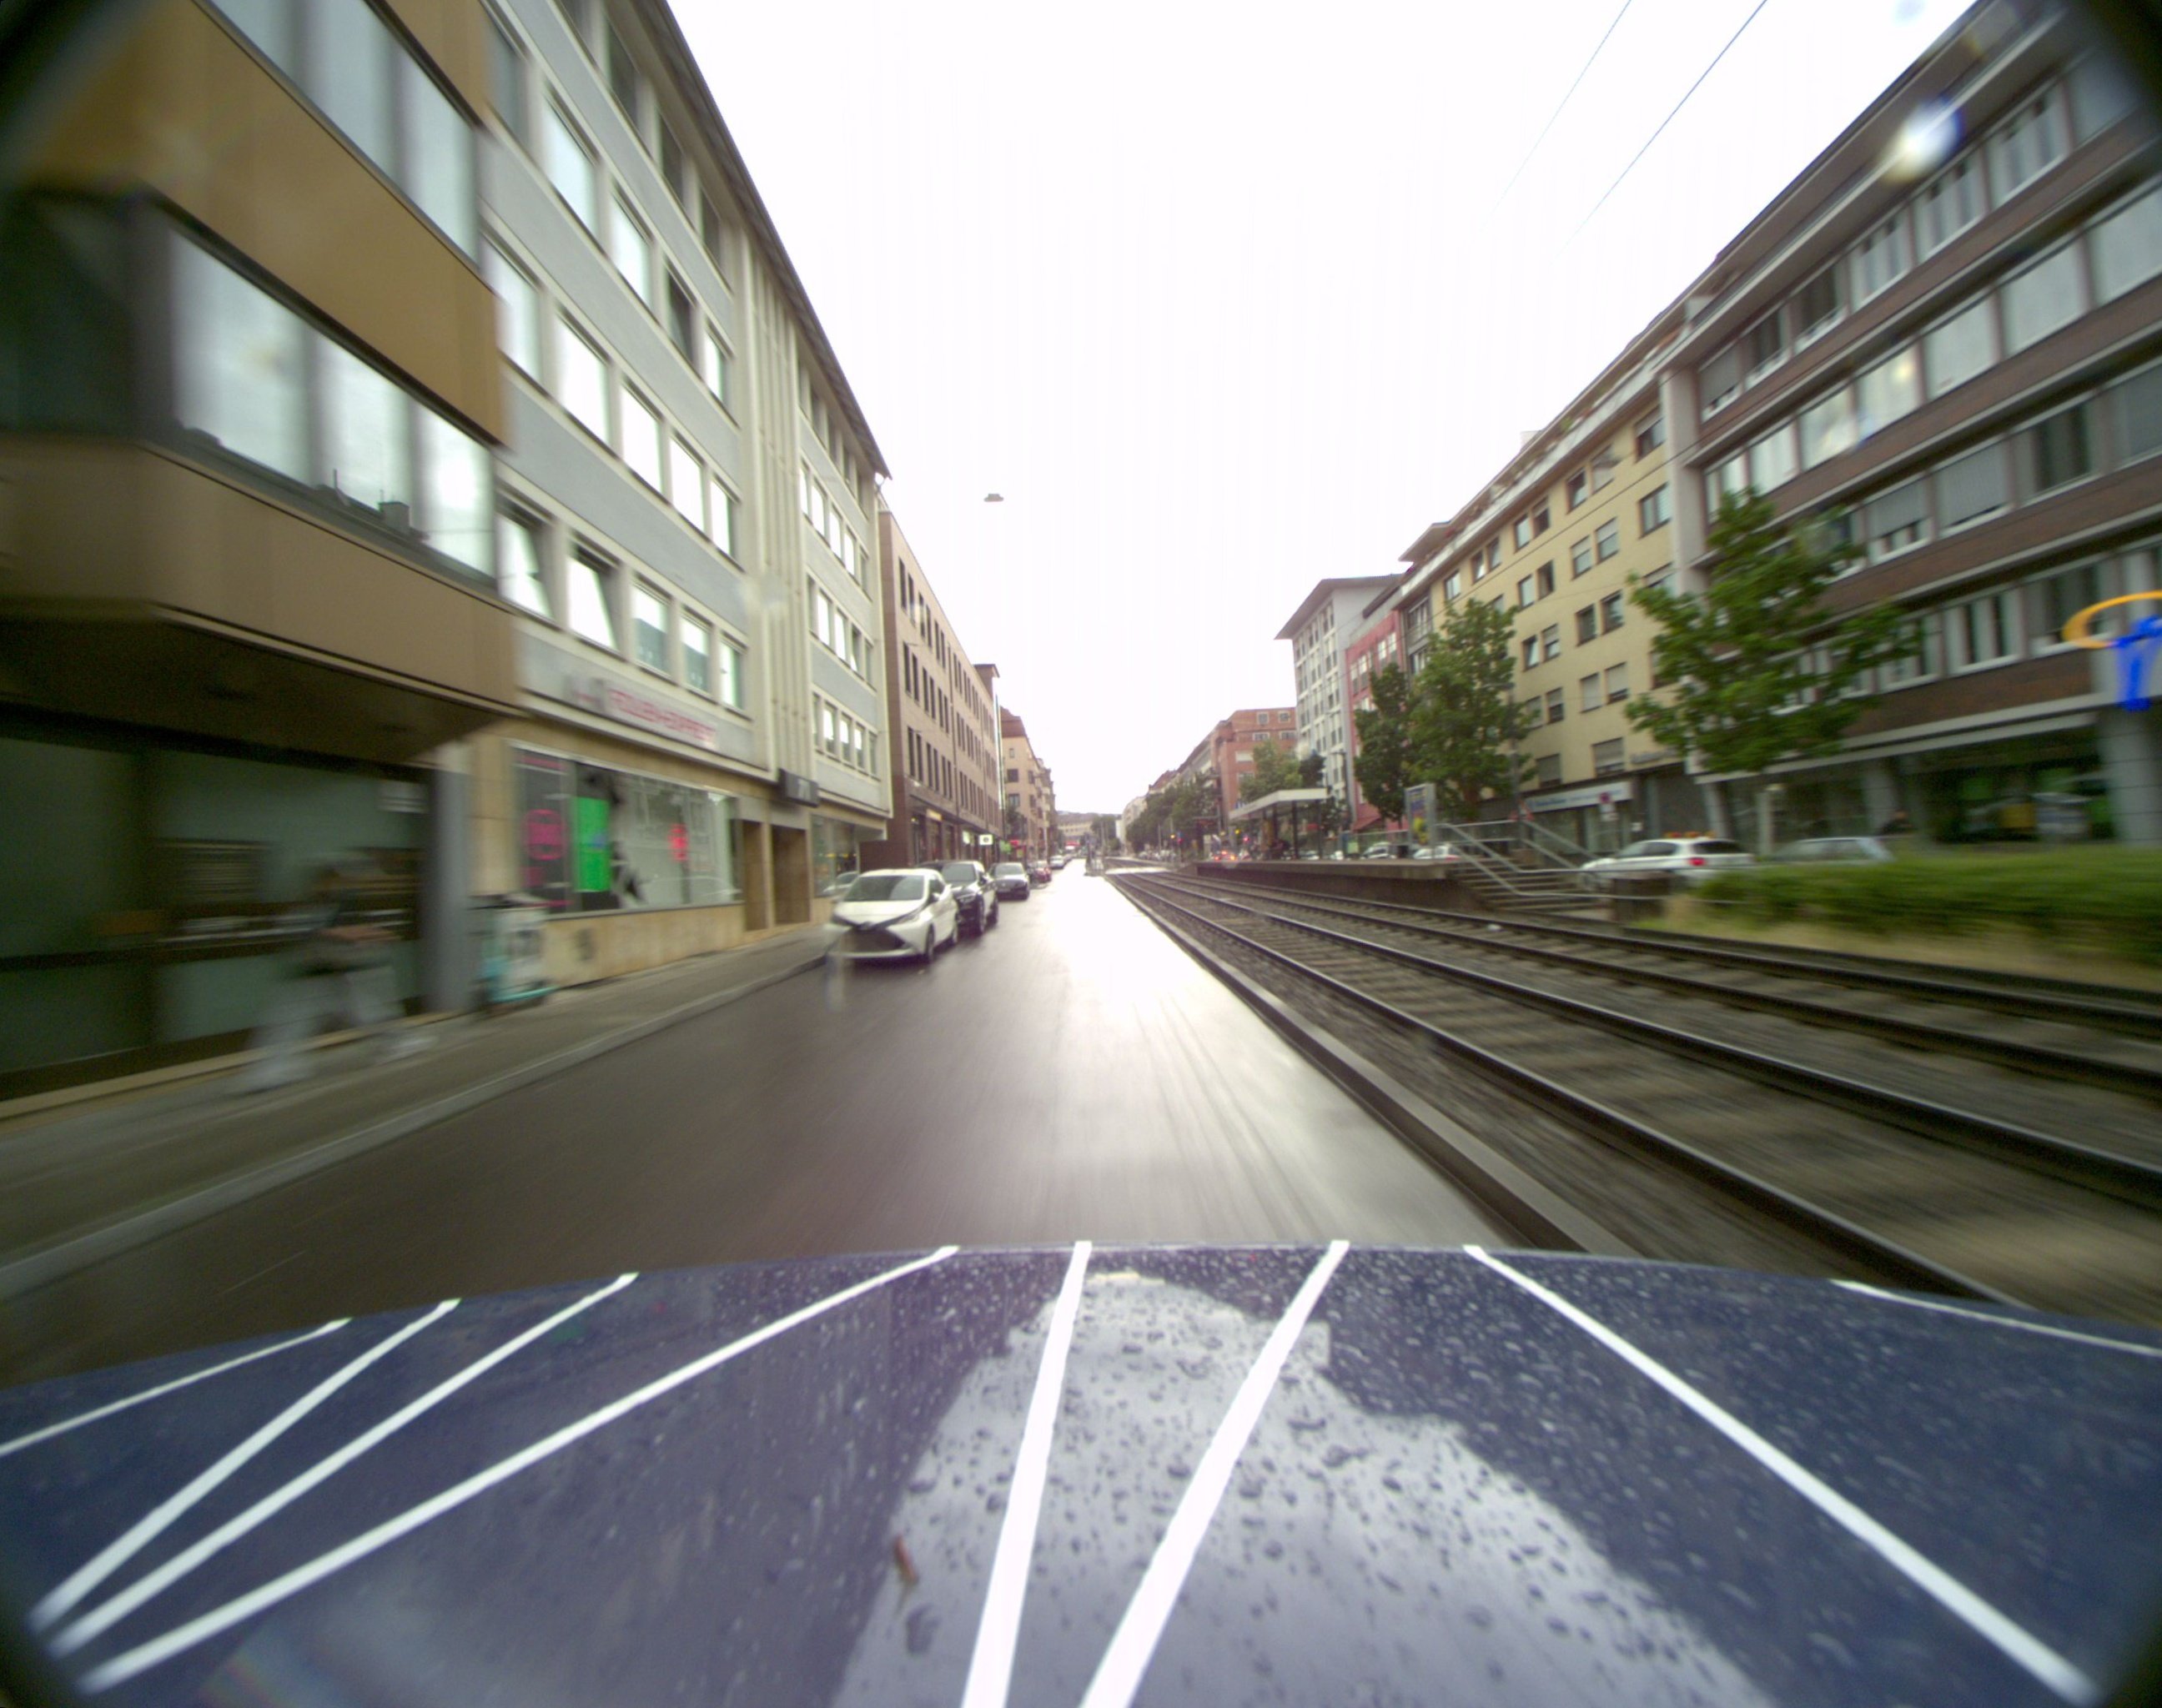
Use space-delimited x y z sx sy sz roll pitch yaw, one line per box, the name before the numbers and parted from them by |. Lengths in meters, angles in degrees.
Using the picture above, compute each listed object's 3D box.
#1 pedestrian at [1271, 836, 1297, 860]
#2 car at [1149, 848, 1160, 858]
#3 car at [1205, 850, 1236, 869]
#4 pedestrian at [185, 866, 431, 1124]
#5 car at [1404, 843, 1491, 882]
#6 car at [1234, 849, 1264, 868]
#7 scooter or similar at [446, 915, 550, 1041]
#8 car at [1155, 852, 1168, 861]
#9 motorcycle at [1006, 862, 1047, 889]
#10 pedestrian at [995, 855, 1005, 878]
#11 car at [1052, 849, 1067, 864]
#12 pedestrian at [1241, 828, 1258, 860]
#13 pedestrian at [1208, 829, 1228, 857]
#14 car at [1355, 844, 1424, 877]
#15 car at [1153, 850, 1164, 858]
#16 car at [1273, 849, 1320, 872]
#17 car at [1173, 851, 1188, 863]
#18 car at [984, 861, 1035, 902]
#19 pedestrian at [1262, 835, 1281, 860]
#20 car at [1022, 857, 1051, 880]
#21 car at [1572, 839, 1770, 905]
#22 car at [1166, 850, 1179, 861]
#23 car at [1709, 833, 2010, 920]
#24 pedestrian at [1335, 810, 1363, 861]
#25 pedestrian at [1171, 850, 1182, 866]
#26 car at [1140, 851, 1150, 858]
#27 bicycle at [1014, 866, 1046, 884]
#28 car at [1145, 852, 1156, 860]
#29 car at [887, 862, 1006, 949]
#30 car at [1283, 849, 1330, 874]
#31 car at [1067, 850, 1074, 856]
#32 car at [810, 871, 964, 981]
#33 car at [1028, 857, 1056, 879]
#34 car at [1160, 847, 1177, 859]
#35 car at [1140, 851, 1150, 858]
pedestrian | 9.709 -0.278 36.432 0.895 1.117 0.849 -2 0 -10
car | 14.500 -0.223 150.572 1.678 1.806 4.431 -3 1 -1
car | 12.266 0.444 67.154 1.811 1.569 5.021 -2 0 1
pedestrian | -5.459 0.930 5.444 0.697 1.642 0.965 -2 0 -1
car | 14.821 0.327 30.954 1.572 1.428 3.735 -2 0 -3
car | 15.014 0.398 68.016 1.730 1.602 4.553 -2 0 1
scooter or similar | -5.859 1.203 7.689 0.210 1.076 1.233 -2 0 -8
car | 14.485 0.409 136.850 1.696 1.454 4.529 -3 1 -3
motorcycle | -3.045 1.197 42.417 2.086 1.399 0.800 -2 1 18
pedestrian | -5.979 0.938 56.362 0.603 1.650 0.625 -2 1 0
car | -2.938 0.311 103.489 1.911 1.796 4.776 -3 1 -2
pedestrian | 9.080 -0.530 41.038 0.657 1.701 0.850 -2 0 -2
pedestrian | 9.952 -0.806 55.312 1.119 2.002 1.383 -2 1 0
car | 14.650 0.297 36.245 1.572 1.428 3.735 -2 0 -3
car | 14.712 -0.025 144.975 1.643 1.530 3.803 -3 1 -1
car | 14.833 0.445 52.546 1.846 1.428 4.318 -2 0 -3
car | 15.044 0.465 115.378 1.643 1.614 4.370 -3 1 1
car | -2.910 1.089 31.624 1.779 1.459 4.608 -2 0 -2
pedestrian | 9.709 -0.330 38.765 0.694 1.242 0.884 -2 0 -2
car | -2.875 0.928 50.176 1.703 1.454 3.866 0 1 0
car | 14.807 0.417 19.415 1.572 1.428 4.237 -2 0 -3
car | 14.658 0.243 121.702 1.643 1.527 4.370 -3 1 1
car | 15.105 0.390 15.143 1.572 1.428 4.176 -2 0 -3
pedestrian | 9.664 -0.643 27.420 0.657 1.791 0.850 -2 0 -2
pedestrian | 10.602 0.467 84.150 0.821 1.687 0.985 -4 1 -8
car | 14.081 0.136 167.470 1.662 1.575 4.337 -3 1 -1
bicycle | -3.036 1.256 45.264 1.791 1.025 0.462 -2 1 -1
car | 14.242 0.347 156.351 1.643 1.432 4.729 -3 1 -1
car | -2.932 1.059 17.745 1.812 1.622 5.169 -2 0 0
car | 13.995 0.481 47.362 1.572 1.428 3.978 -2 0 -3
car | -2.546 -0.230 187.517 1.588 1.343 3.977 -3 1 -1
car | -3.078 1.082 12.770 1.561 1.468 3.565 -2 0 1
car | -2.766 0.972 54.724 1.703 1.471 3.867 0 1 2
car | 14.695 -0.170 127.828 1.912 1.834 5.255 -3 1 -4
car | 13.574 0.074 161.616 1.643 1.529 4.022 -3 1 1
